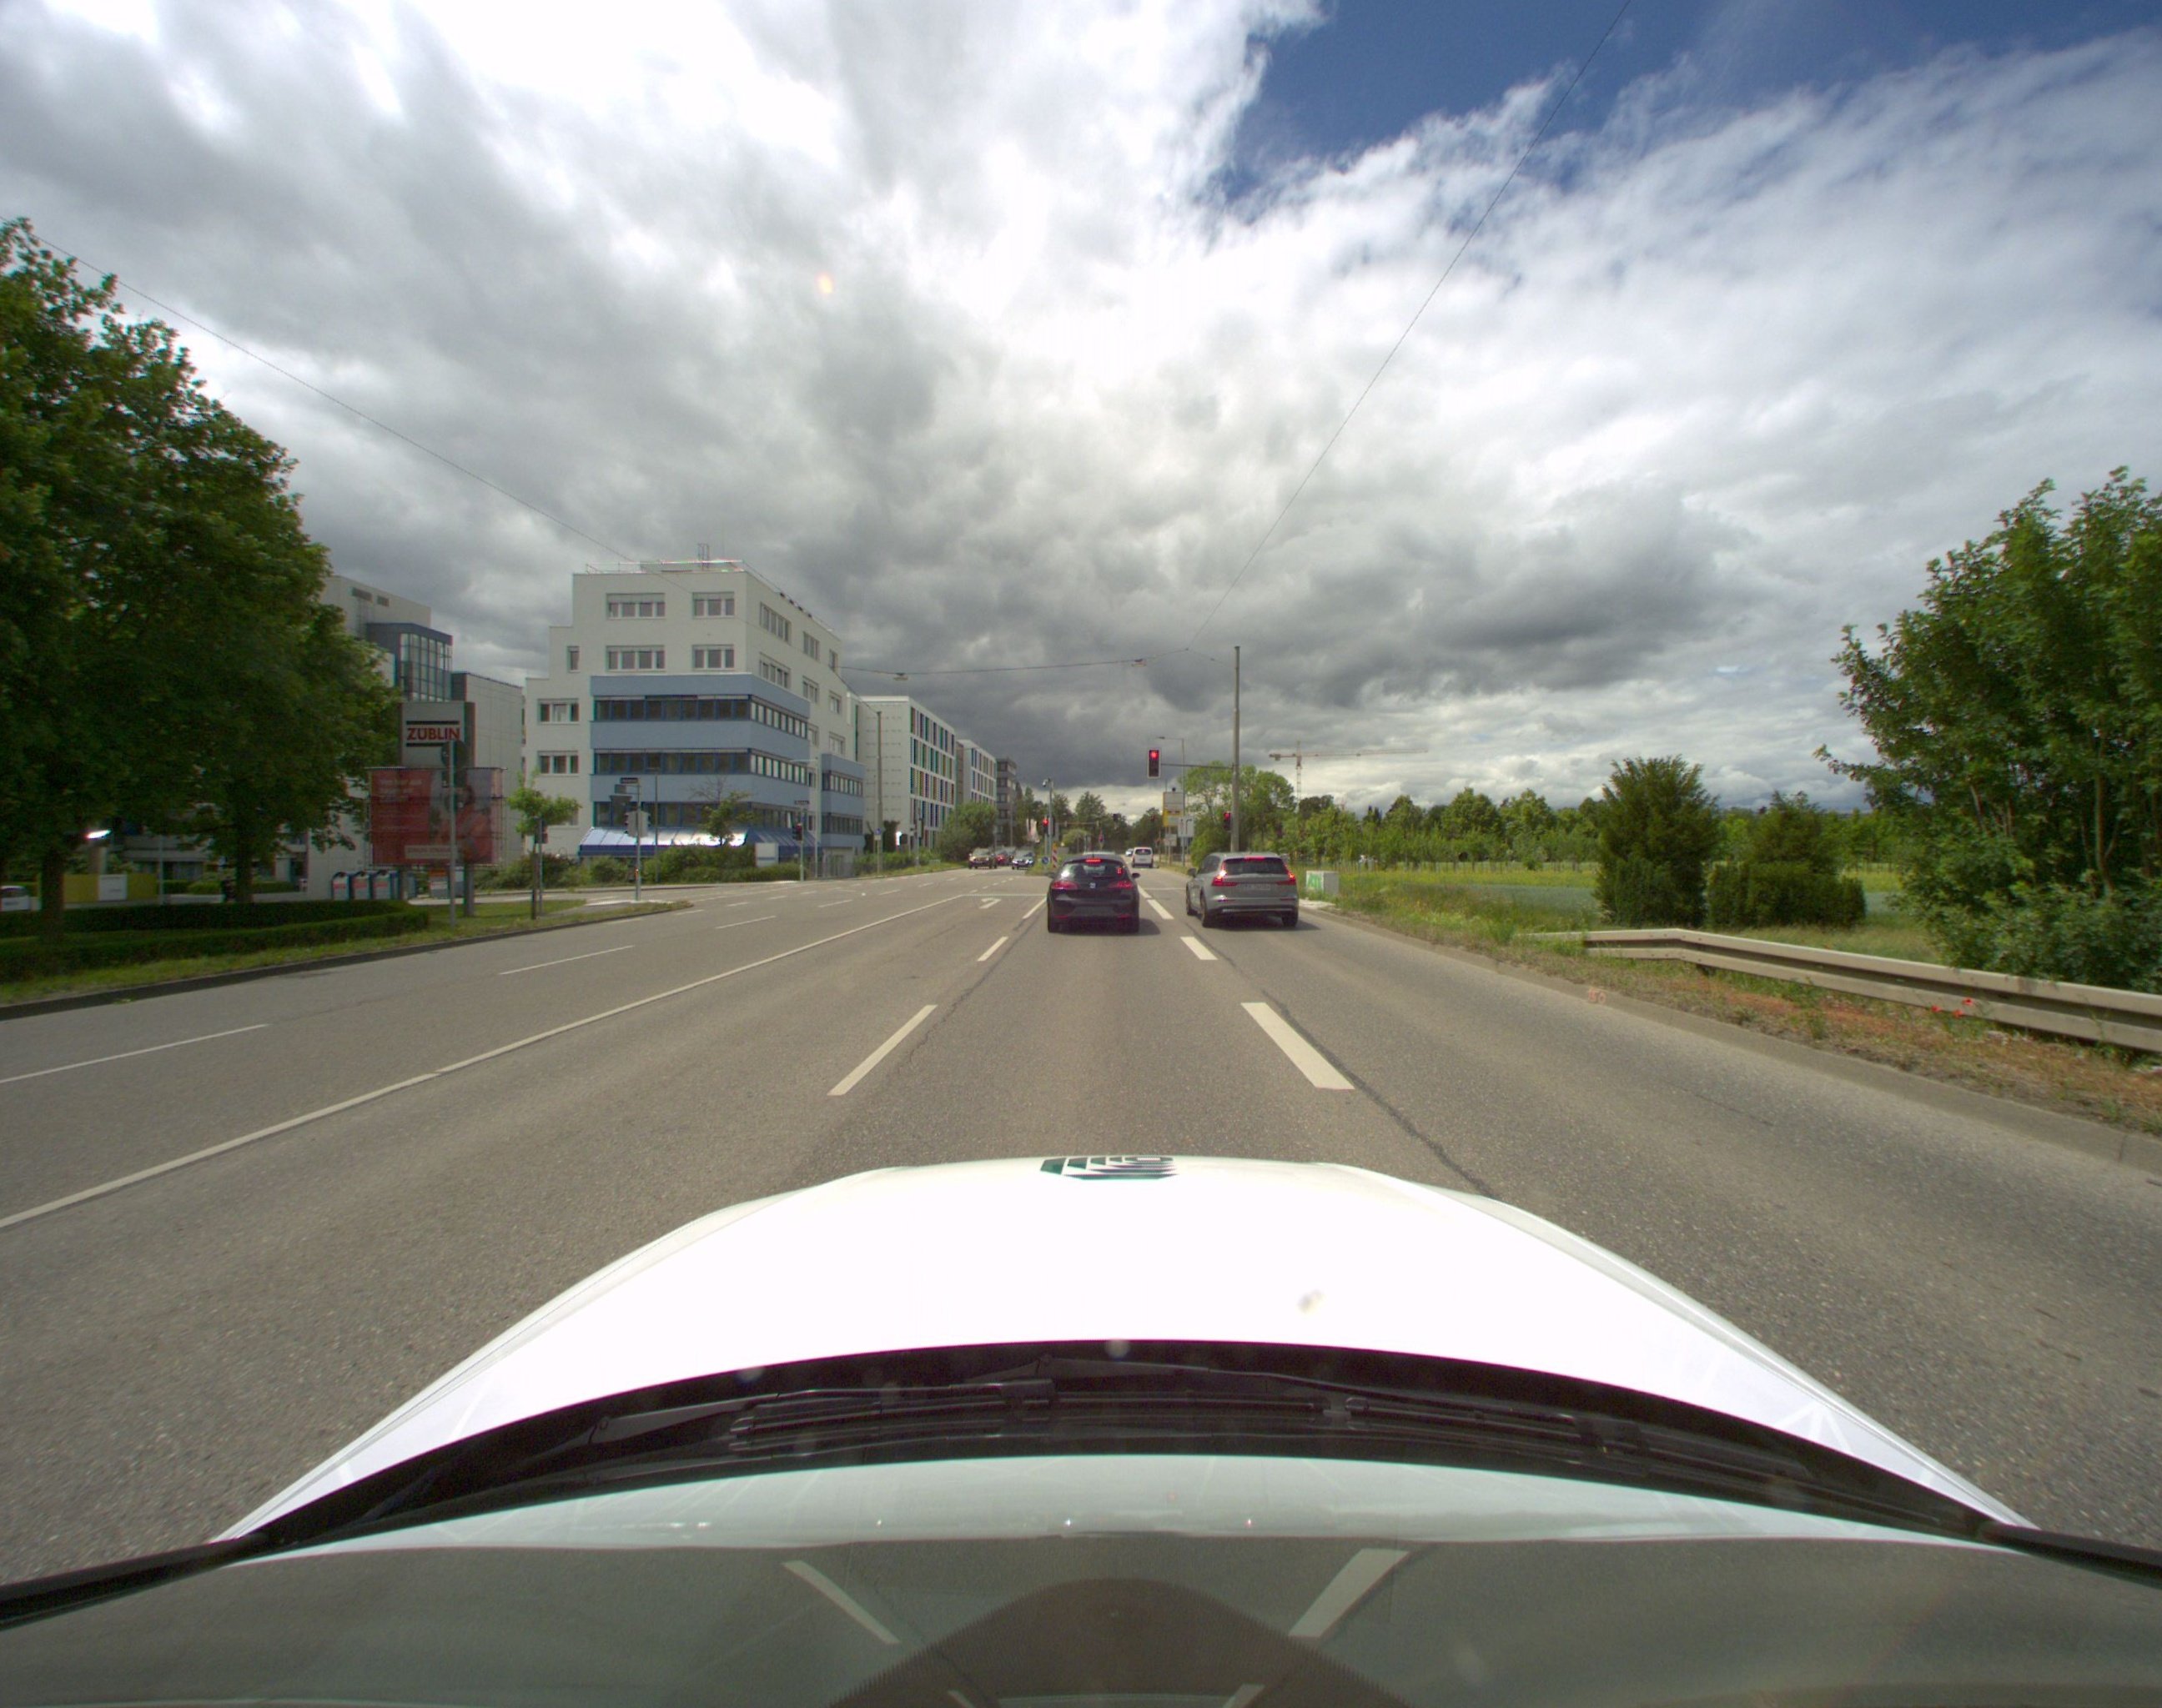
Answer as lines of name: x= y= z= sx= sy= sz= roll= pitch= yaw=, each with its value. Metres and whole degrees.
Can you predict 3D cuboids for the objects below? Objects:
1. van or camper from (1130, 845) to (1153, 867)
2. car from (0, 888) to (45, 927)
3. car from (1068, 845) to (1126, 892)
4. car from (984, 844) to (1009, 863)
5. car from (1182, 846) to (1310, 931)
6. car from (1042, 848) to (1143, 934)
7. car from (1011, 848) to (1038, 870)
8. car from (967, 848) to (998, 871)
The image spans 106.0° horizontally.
van or camper: x=5.524 y=0.176 z=74.451 sx=1.892 sy=1.926 sz=4.001 roll=0 pitch=0 yaw=1
car: x=-59.892 y=2.928 z=44.603 sx=3.968 sy=1.980 sz=2.003 roll=-1 pitch=0 yaw=4
car: x=0.564 y=0.472 z=29.667 sx=1.977 sy=1.590 sz=4.226 roll=0 pitch=0 yaw=1
car: x=-7.584 y=-0.016 z=73.692 sx=1.769 sy=1.612 sz=4.001 roll=0 pitch=0 yaw=1
car: x=3.345 y=0.656 z=17.342 sx=1.950 sy=1.525 sz=4.342 roll=-2 pitch=0 yaw=2
car: x=0.350 y=0.666 z=16.514 sx=1.740 sy=1.484 sz=4.005 roll=1 pitch=0 yaw=5
car: x=-4.288 y=0.356 z=62.329 sx=1.663 sy=1.524 sz=4.009 roll=-2 pitch=1 yaw=1
car: x=-7.647 y=0.402 z=63.579 sx=1.745 sy=1.631 sz=4.001 roll=-2 pitch=0 yaw=1
